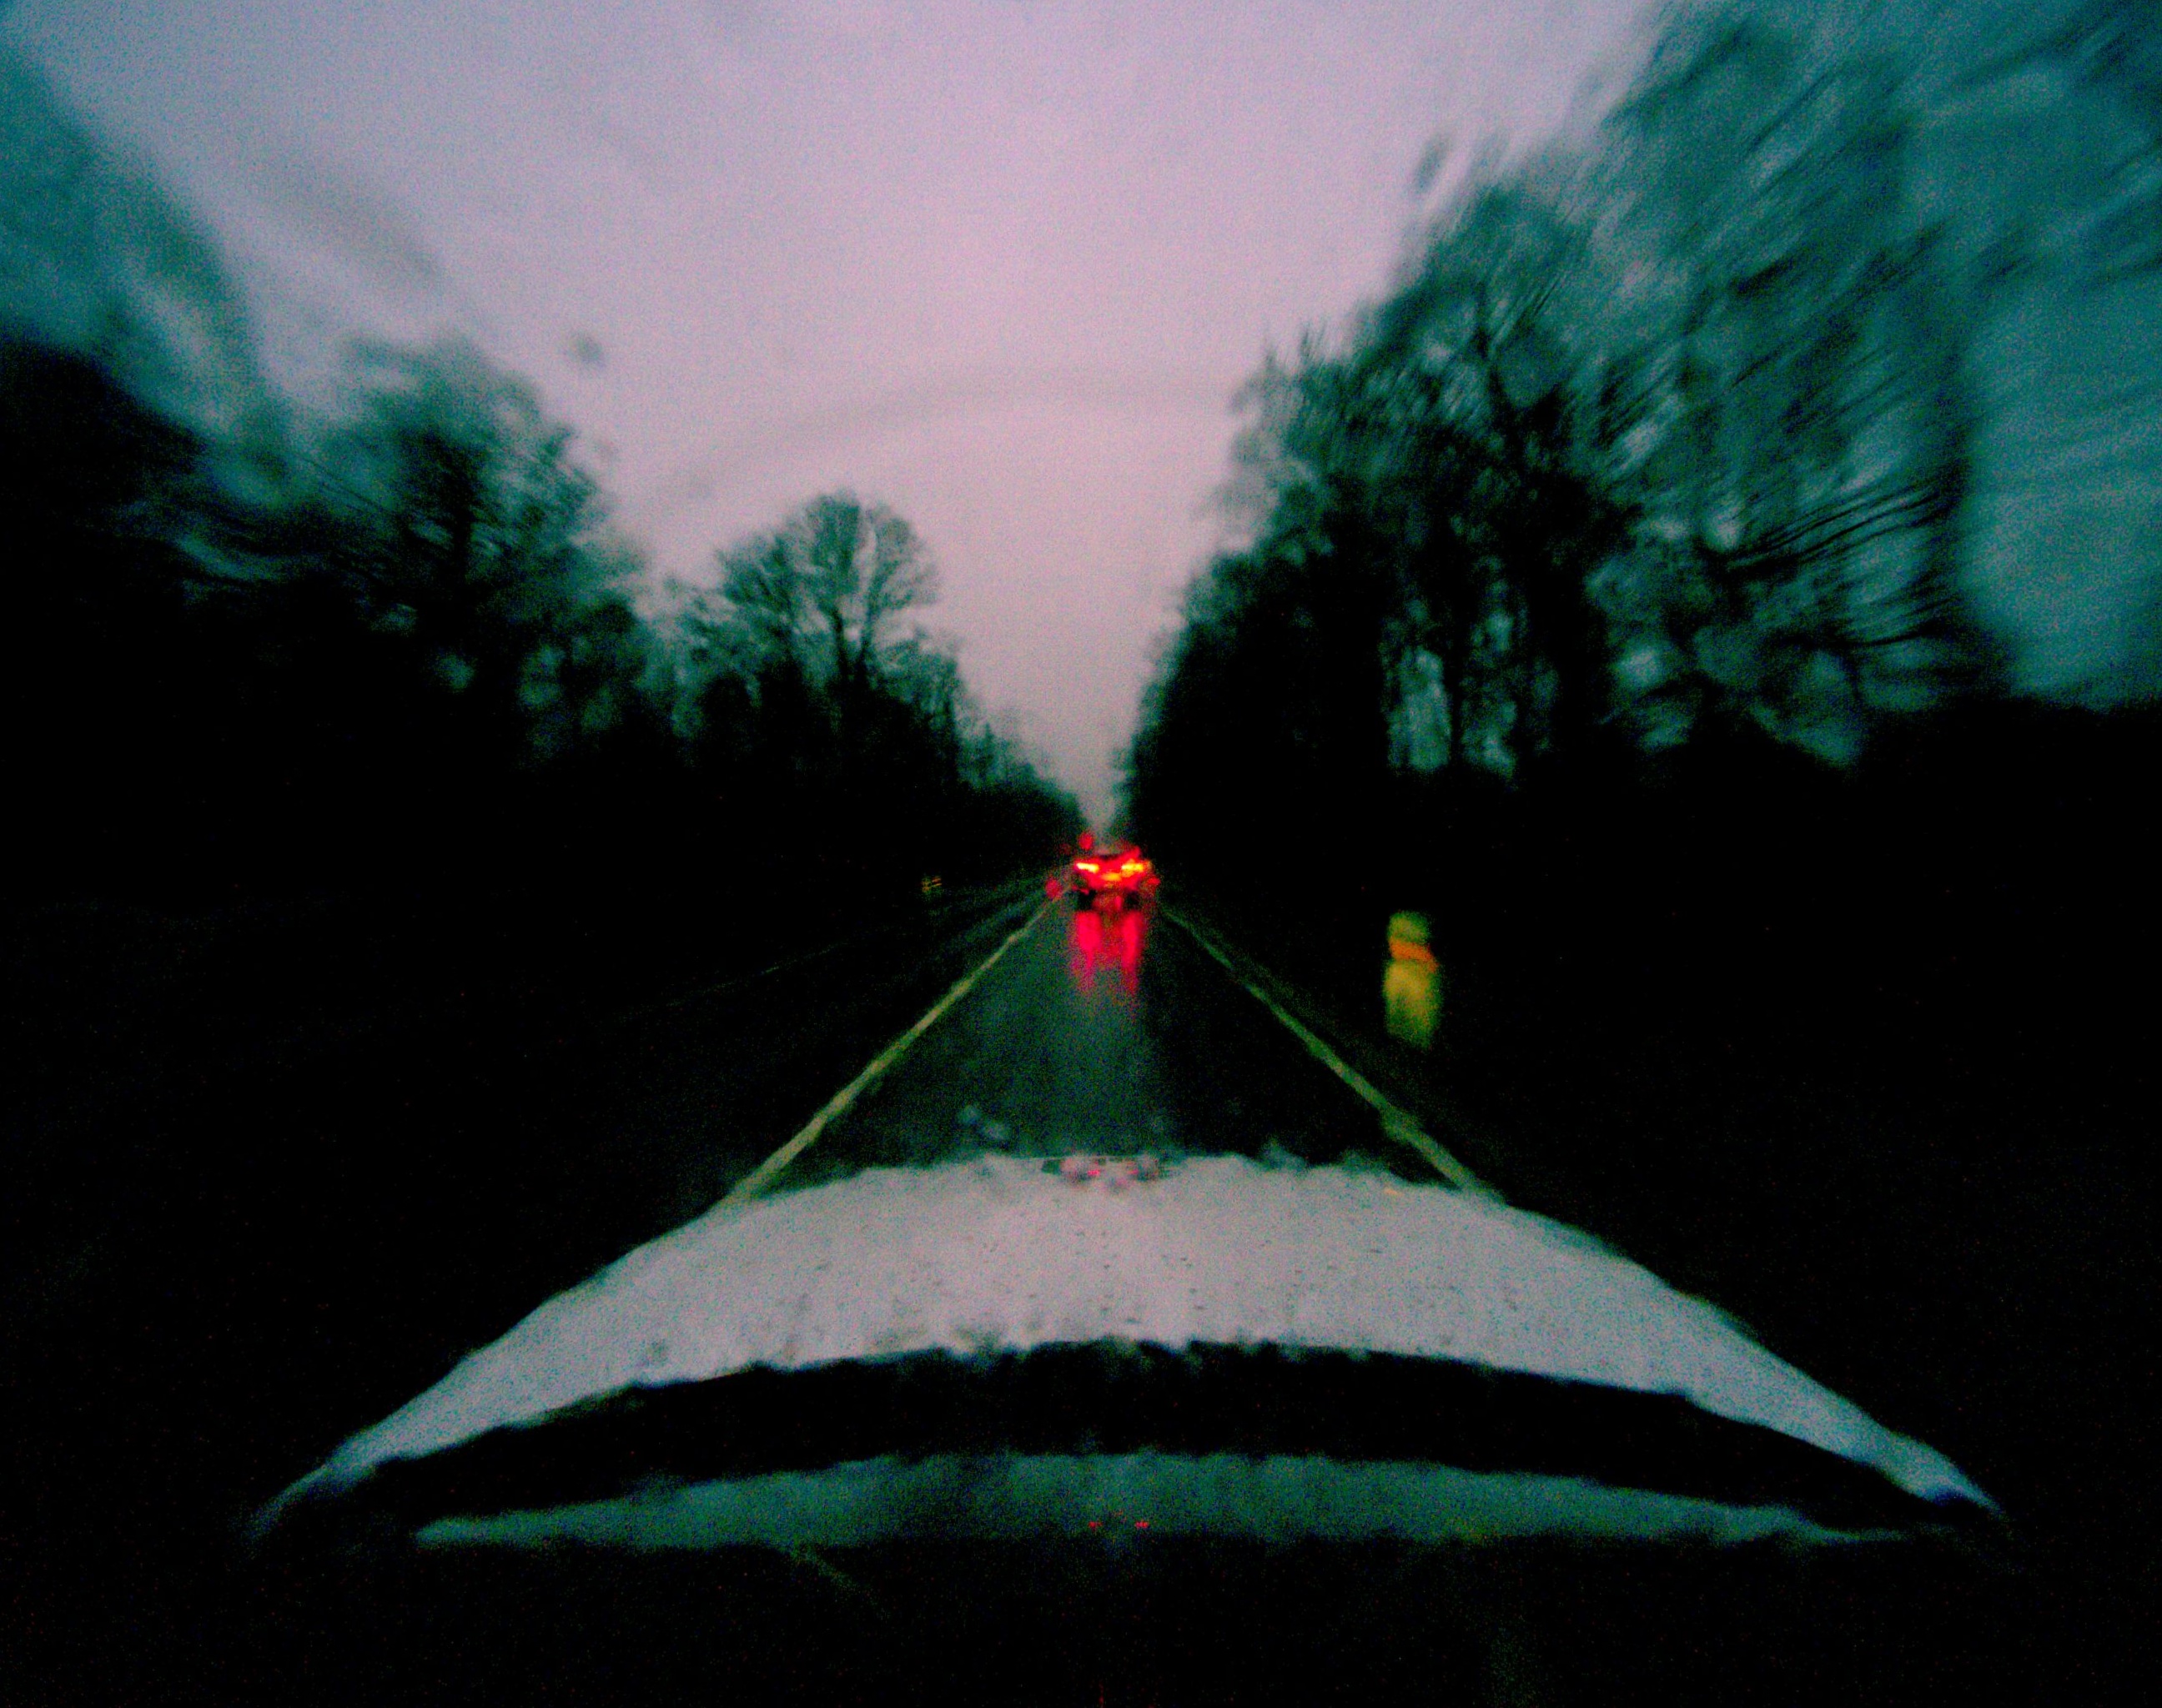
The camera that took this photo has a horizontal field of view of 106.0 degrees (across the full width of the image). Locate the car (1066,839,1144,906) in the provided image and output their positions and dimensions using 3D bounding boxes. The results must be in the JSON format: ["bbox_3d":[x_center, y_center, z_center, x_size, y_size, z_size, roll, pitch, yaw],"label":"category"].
[{"bbox_3d":[0.731,0.515,25.580,2.190,1.877,4.828,-1,0,1],"label":"car"}]

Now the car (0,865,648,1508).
[{"bbox_3d":[-3.377,0.858,2.695,1.592,1.496,3.897,-3,0,2],"label":"car"}]
